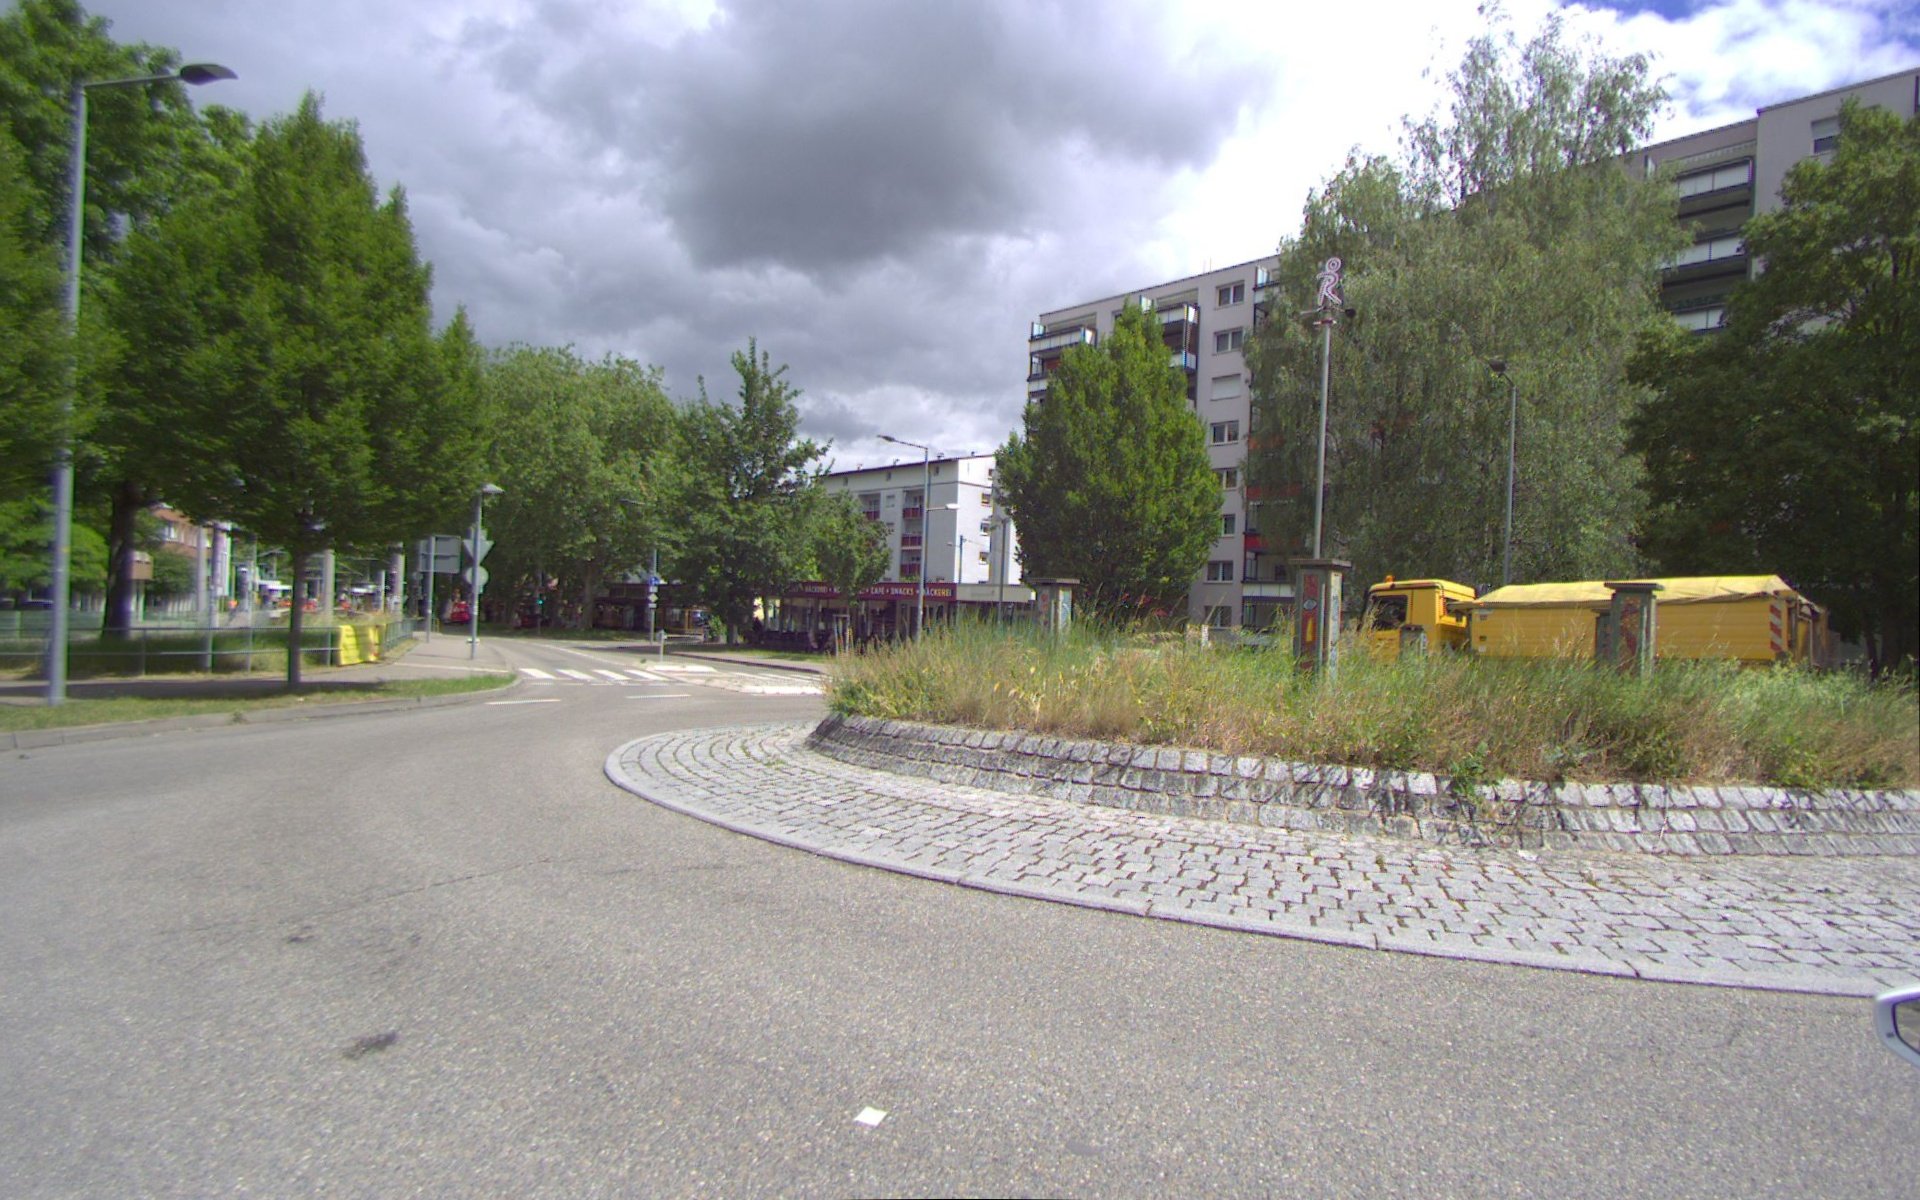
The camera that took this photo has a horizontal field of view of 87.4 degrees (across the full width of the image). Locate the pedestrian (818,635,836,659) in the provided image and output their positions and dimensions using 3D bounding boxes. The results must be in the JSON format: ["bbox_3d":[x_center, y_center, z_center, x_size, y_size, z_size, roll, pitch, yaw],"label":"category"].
[{"bbox_3d":[-7.026,2.469,52.907,0.711,1.217,0.693,2,-1,-30],"label":"pedestrian"}]

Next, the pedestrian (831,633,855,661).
[{"bbox_3d":[-6.032,2.402,51.638,0.874,1.342,0.812,2,1,-44],"label":"pedestrian"}]

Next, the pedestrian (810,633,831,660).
[{"bbox_3d":[-7.210,2.397,51.792,0.872,1.342,0.605,2,-1,-35],"label":"pedestrian"}]

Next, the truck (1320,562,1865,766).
[{"bbox_3d":[11.557,1.003,19.357,2.972,3.075,8.391,3,-1,-38],"label":"truck"}]

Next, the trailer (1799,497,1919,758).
[{"bbox_3d":[13.226,0.383,10.775,2.816,3.417,10.840,3,0,20],"label":"trailer"}]

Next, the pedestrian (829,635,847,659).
[{"bbox_3d":[-6.458,2.497,53.130,0.711,1.217,0.693,2,-1,-30],"label":"pedestrian"}]

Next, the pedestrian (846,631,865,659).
[{"bbox_3d":[-5.448,2.331,52.266,0.713,1.399,0.691,2,-1,-36],"label":"pedestrian"}]
